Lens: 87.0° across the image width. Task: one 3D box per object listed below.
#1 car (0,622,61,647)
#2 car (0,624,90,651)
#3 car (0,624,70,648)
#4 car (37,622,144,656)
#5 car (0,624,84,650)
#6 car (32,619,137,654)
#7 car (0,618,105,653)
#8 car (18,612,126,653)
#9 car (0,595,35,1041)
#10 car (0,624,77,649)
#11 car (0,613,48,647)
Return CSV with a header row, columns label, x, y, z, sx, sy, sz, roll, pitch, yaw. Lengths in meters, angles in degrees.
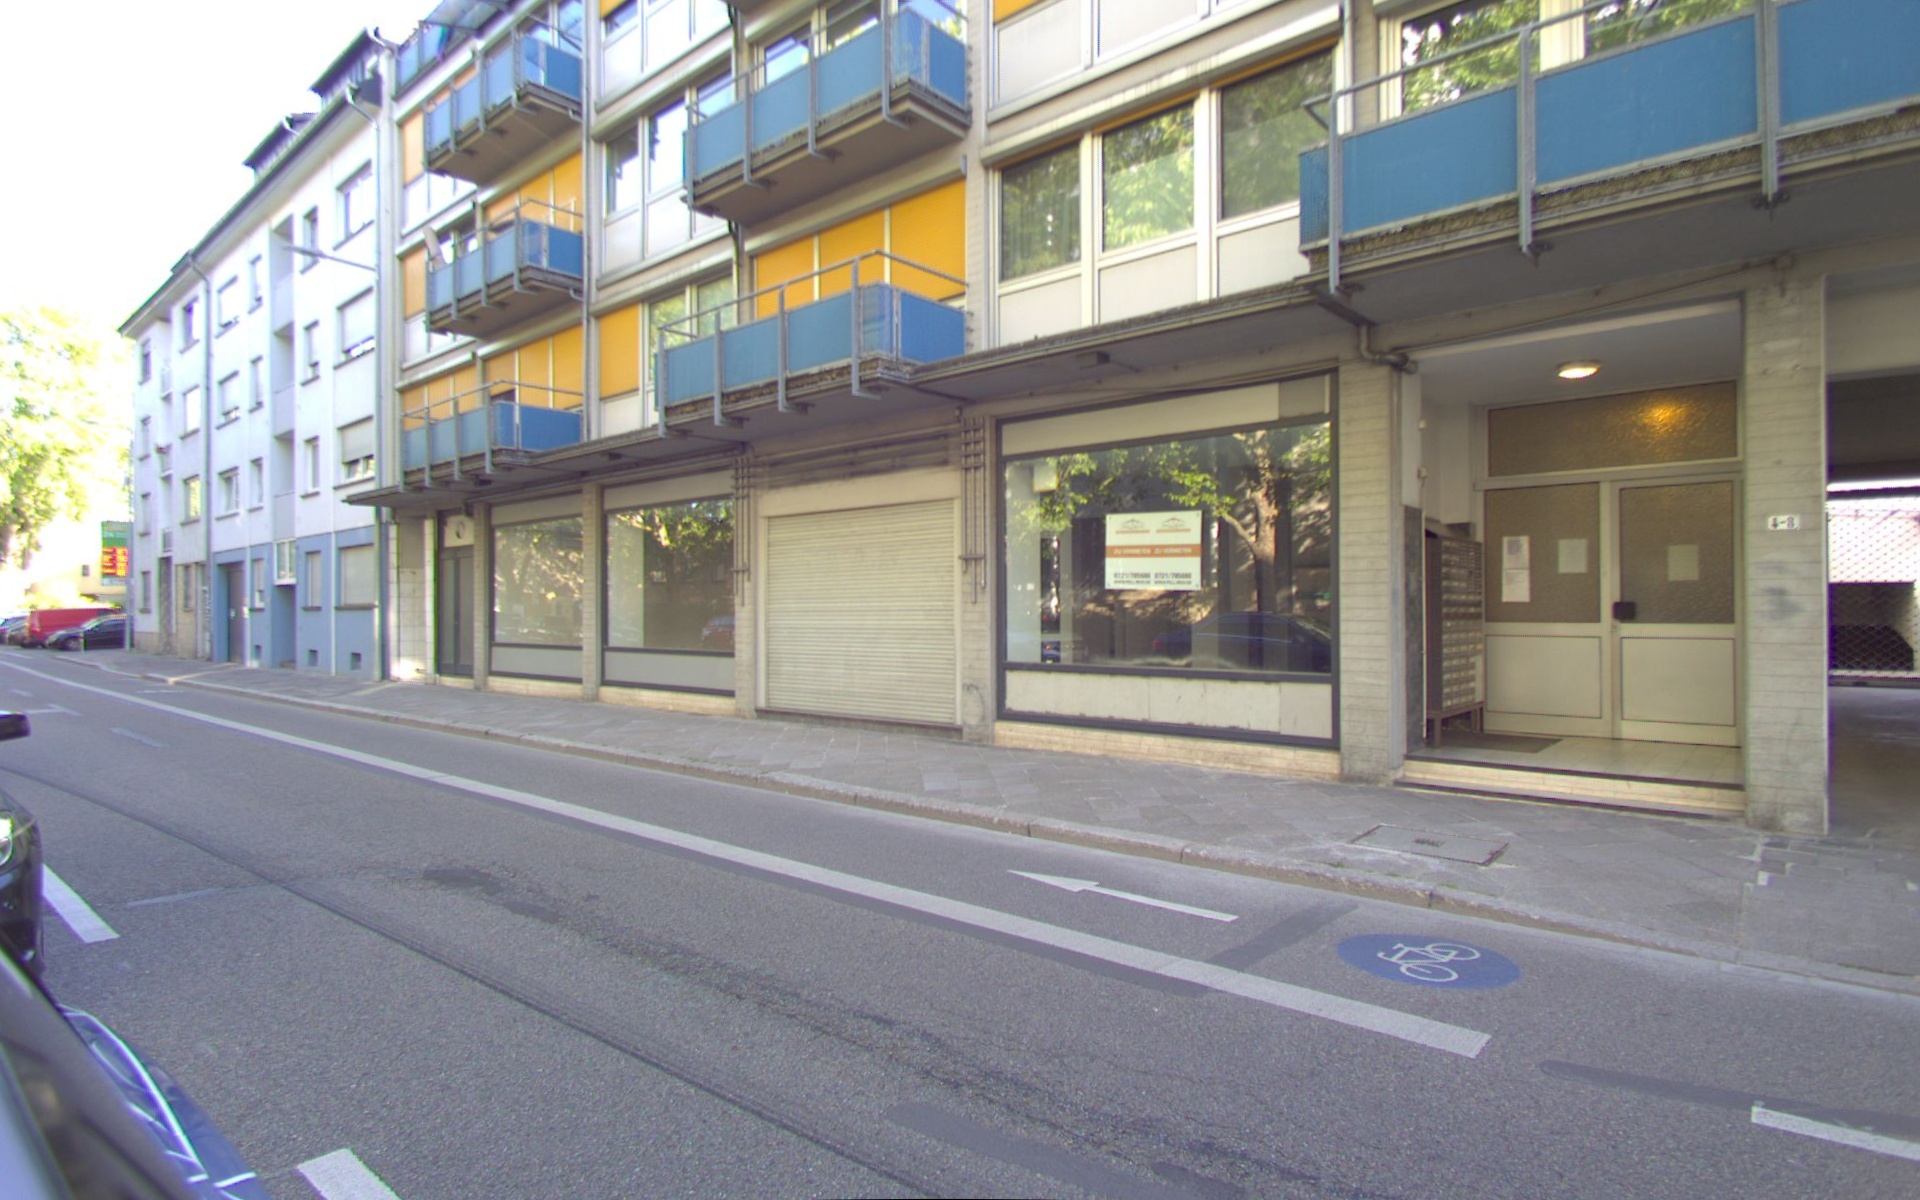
label,x,y,z,sx,sy,sz,roll,pitch,yaw
car,-59.203,2.190,63.752,1.539,1.451,3.733,-1,0,42
car,-51.837,2.098,57.214,1.594,1.385,3.854,-1,0,42
car,-57.173,2.202,61.994,1.525,1.343,3.854,-1,0,42
car,-39.784,1.748,46.344,1.534,1.420,3.551,-2,-1,42
car,-53.351,2.117,58.554,1.594,1.385,3.854,-1,0,42
car,-41.501,1.702,48.040,1.602,1.521,3.620,-1,0,42
car,-46.041,1.782,51.396,1.603,1.598,3.854,-1,0,42
car,-43.694,1.567,49.858,1.749,1.921,3.854,-1,-1,42
car,-5.421,0.769,4.199,4.291,1.515,1.805,-1,0,40
car,-55.367,2.178,60.432,1.525,1.343,3.854,-1,0,42
car,-62.701,1.969,66.582,1.725,2.193,3.854,-1,0,42
